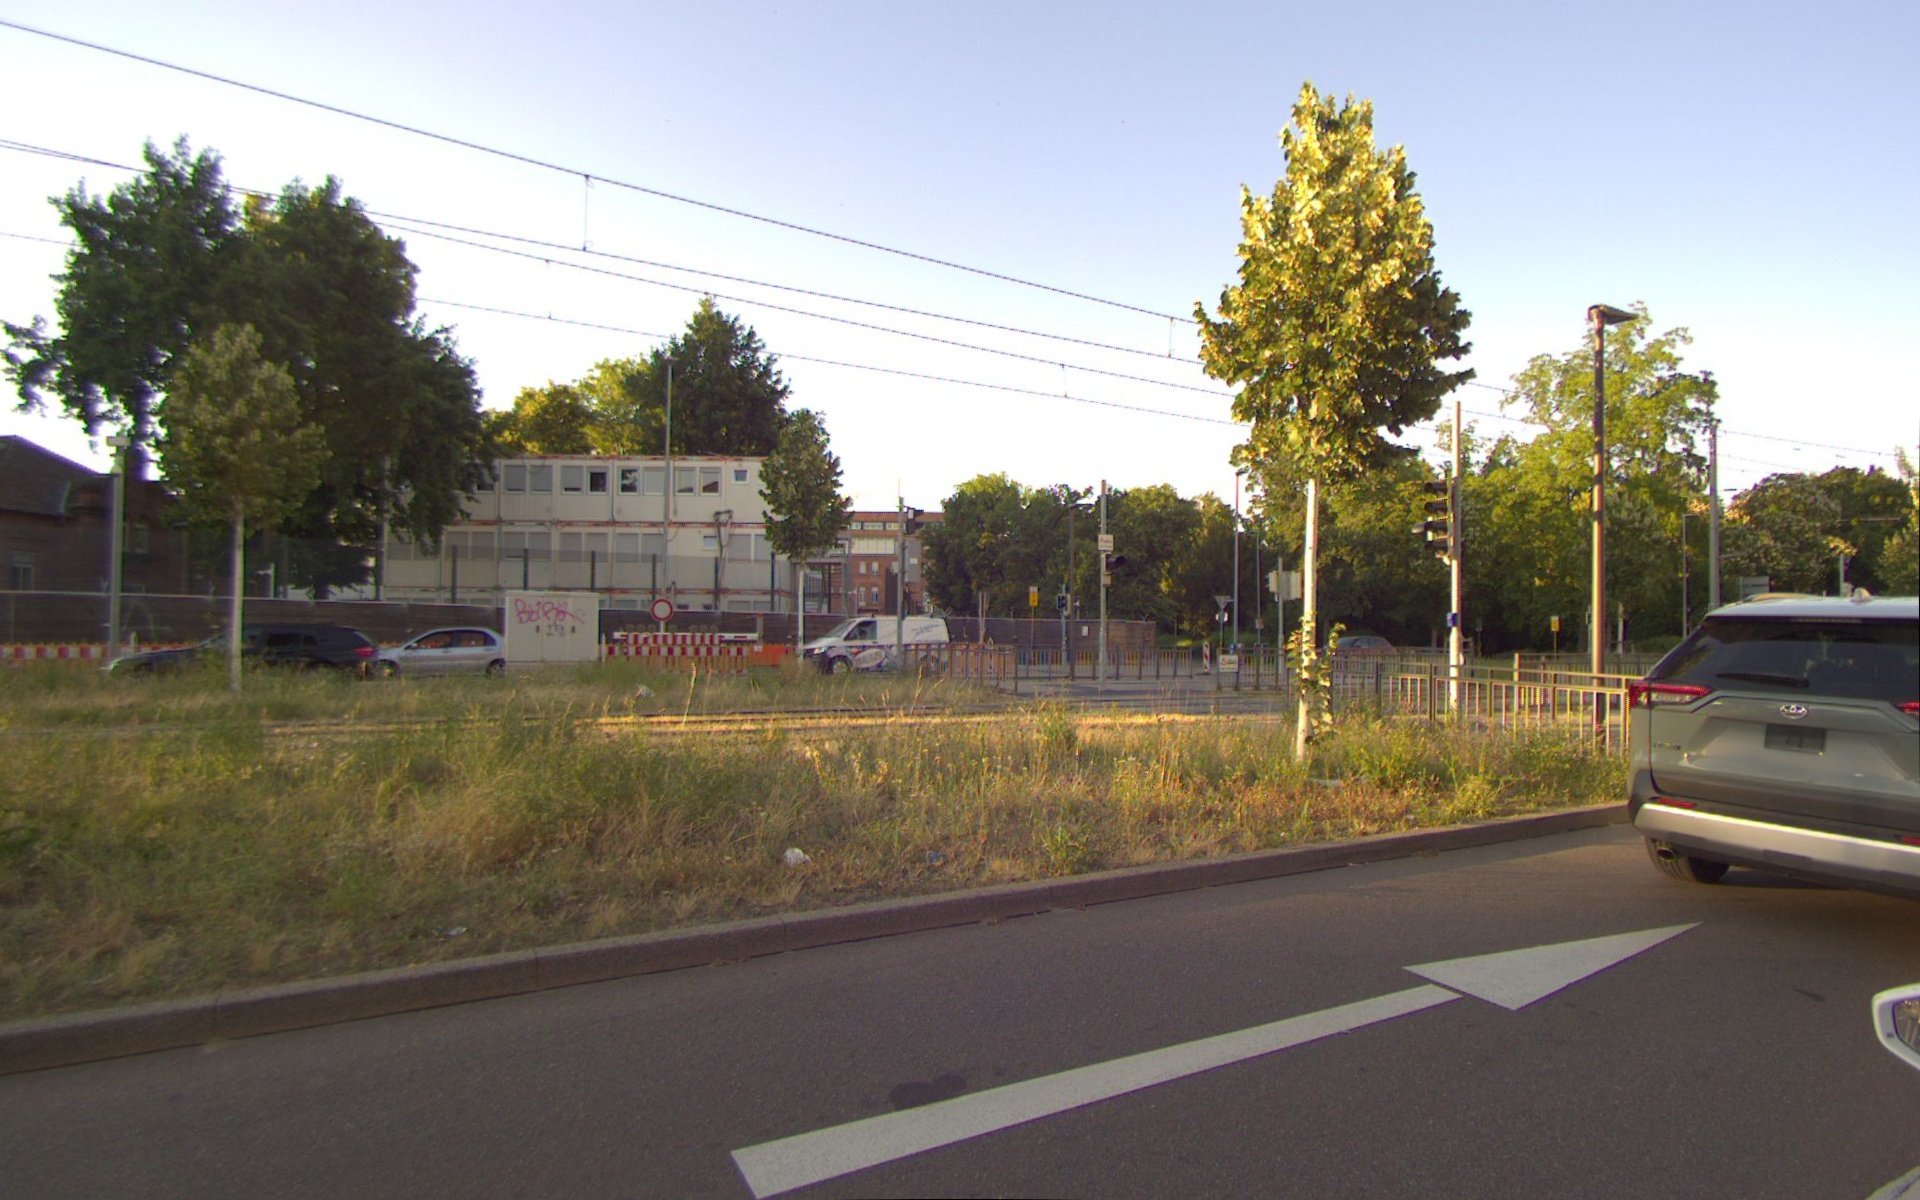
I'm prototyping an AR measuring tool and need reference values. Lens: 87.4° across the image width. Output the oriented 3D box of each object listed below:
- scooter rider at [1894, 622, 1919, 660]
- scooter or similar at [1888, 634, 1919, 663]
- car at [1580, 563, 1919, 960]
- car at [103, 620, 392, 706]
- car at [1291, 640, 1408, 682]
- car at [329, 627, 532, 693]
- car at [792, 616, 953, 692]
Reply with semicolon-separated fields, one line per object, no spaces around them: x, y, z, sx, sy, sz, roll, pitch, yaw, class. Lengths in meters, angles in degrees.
38.764;1.670;40.922;0.644;1.534;0.818;1;-2;-24;scooter rider
38.738;1.967;40.894;0.506;1.168;1.326;1;-2;-24;scooter or similar
5.639;0.693;5.739;4.218;1.681;1.845;0;0;-31;car
-13.971;1.175;20.082;4.466;1.501;1.985;0;0;-28;car
15.925;2.453;41.085;4.461;1.501;1.987;0;0;-26;car
-13.530;1.482;25.852;4.467;1.501;1.985;0;0;-29;car
-2.759;1.634;31.815;4.690;2.197;1.986;0;0;-28;car
